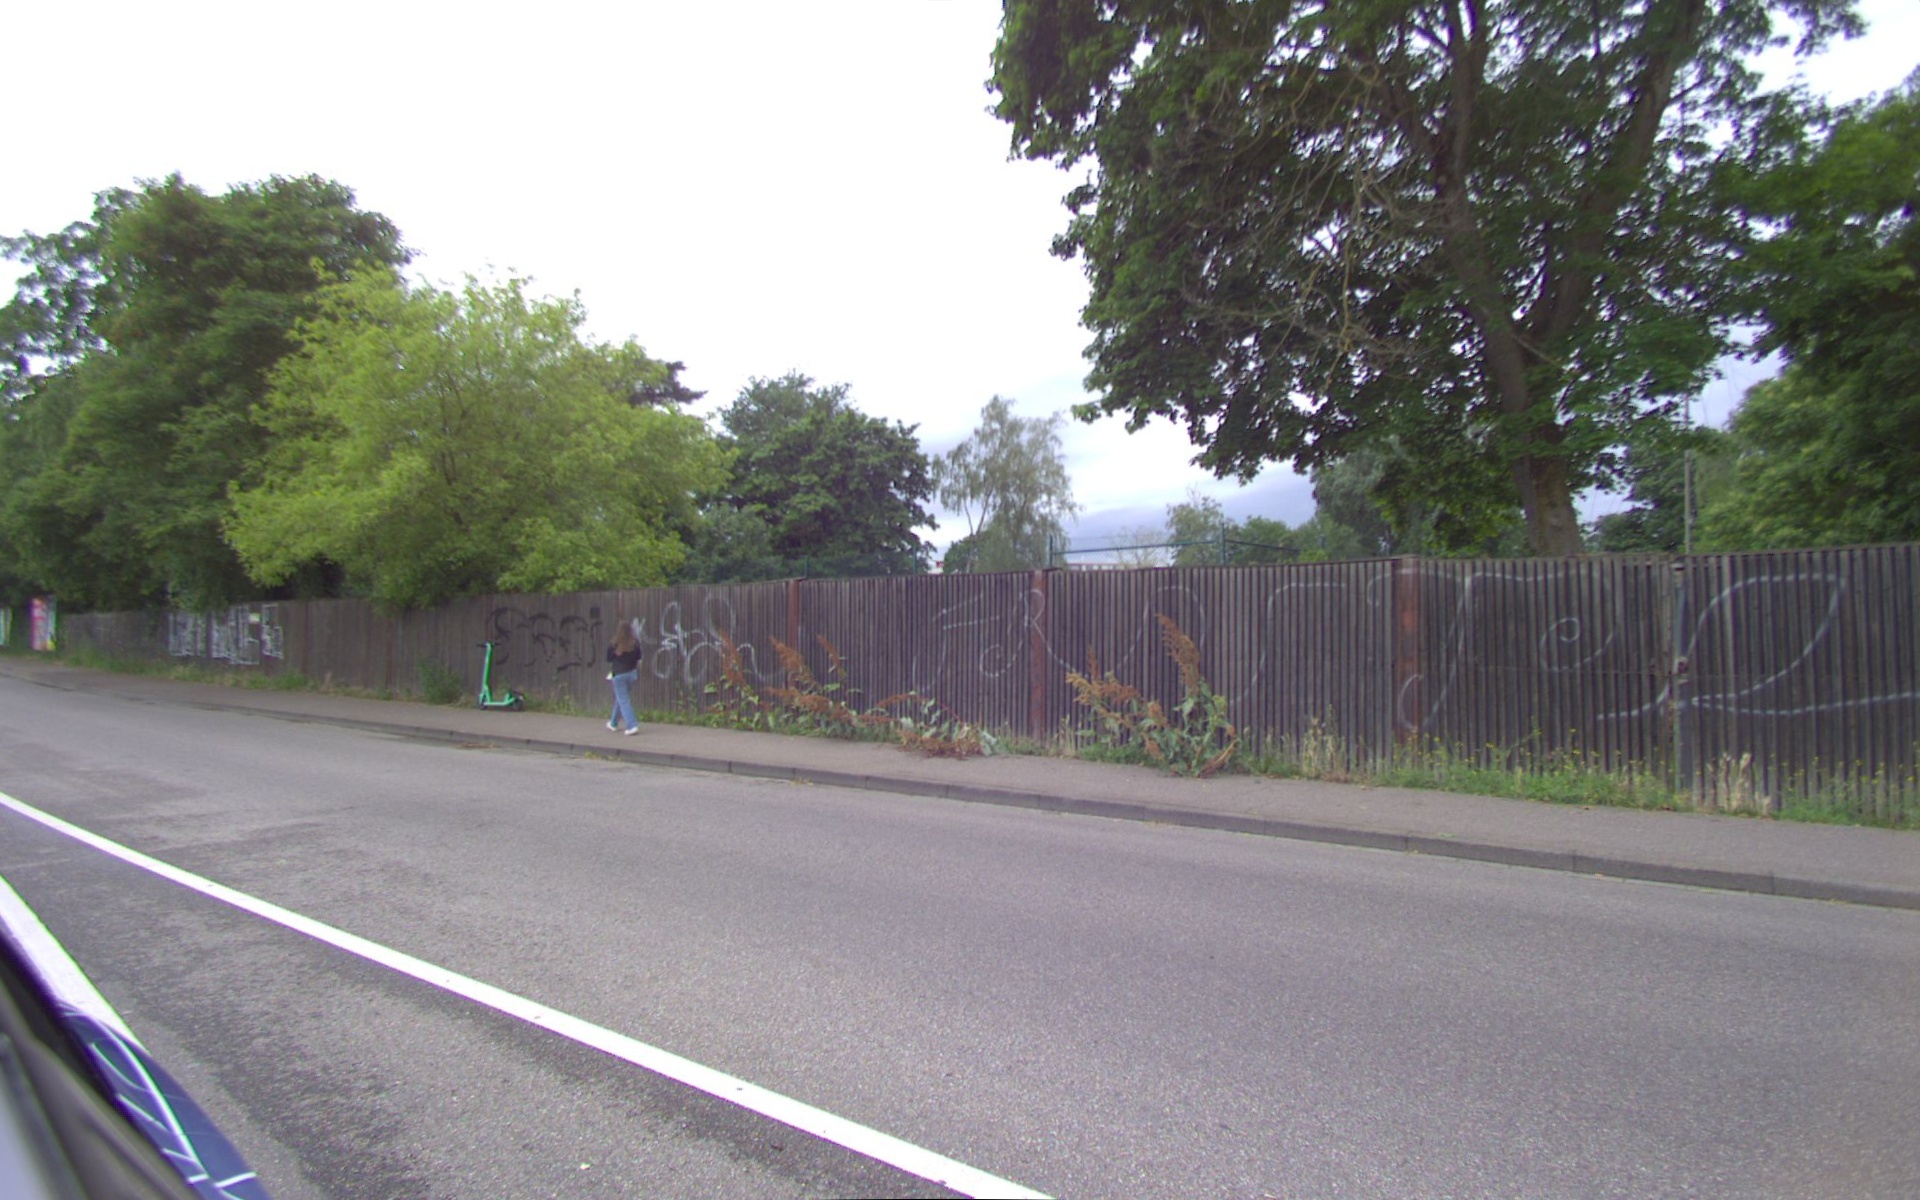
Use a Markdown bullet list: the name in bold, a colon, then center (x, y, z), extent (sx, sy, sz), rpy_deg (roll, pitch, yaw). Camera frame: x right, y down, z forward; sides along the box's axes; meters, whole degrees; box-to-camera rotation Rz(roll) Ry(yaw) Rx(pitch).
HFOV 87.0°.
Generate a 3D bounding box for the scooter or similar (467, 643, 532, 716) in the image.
- **scooter or similar**: center (-7.825, 1.332, 17.176), extent (1.301, 1.179, 0.419), rpy_deg (-2, -2, 36)

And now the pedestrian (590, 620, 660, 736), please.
- **pedestrian**: center (-4.589, 1.043, 13.860), extent (0.723, 1.541, 0.606), rpy_deg (-2, -2, 36)
